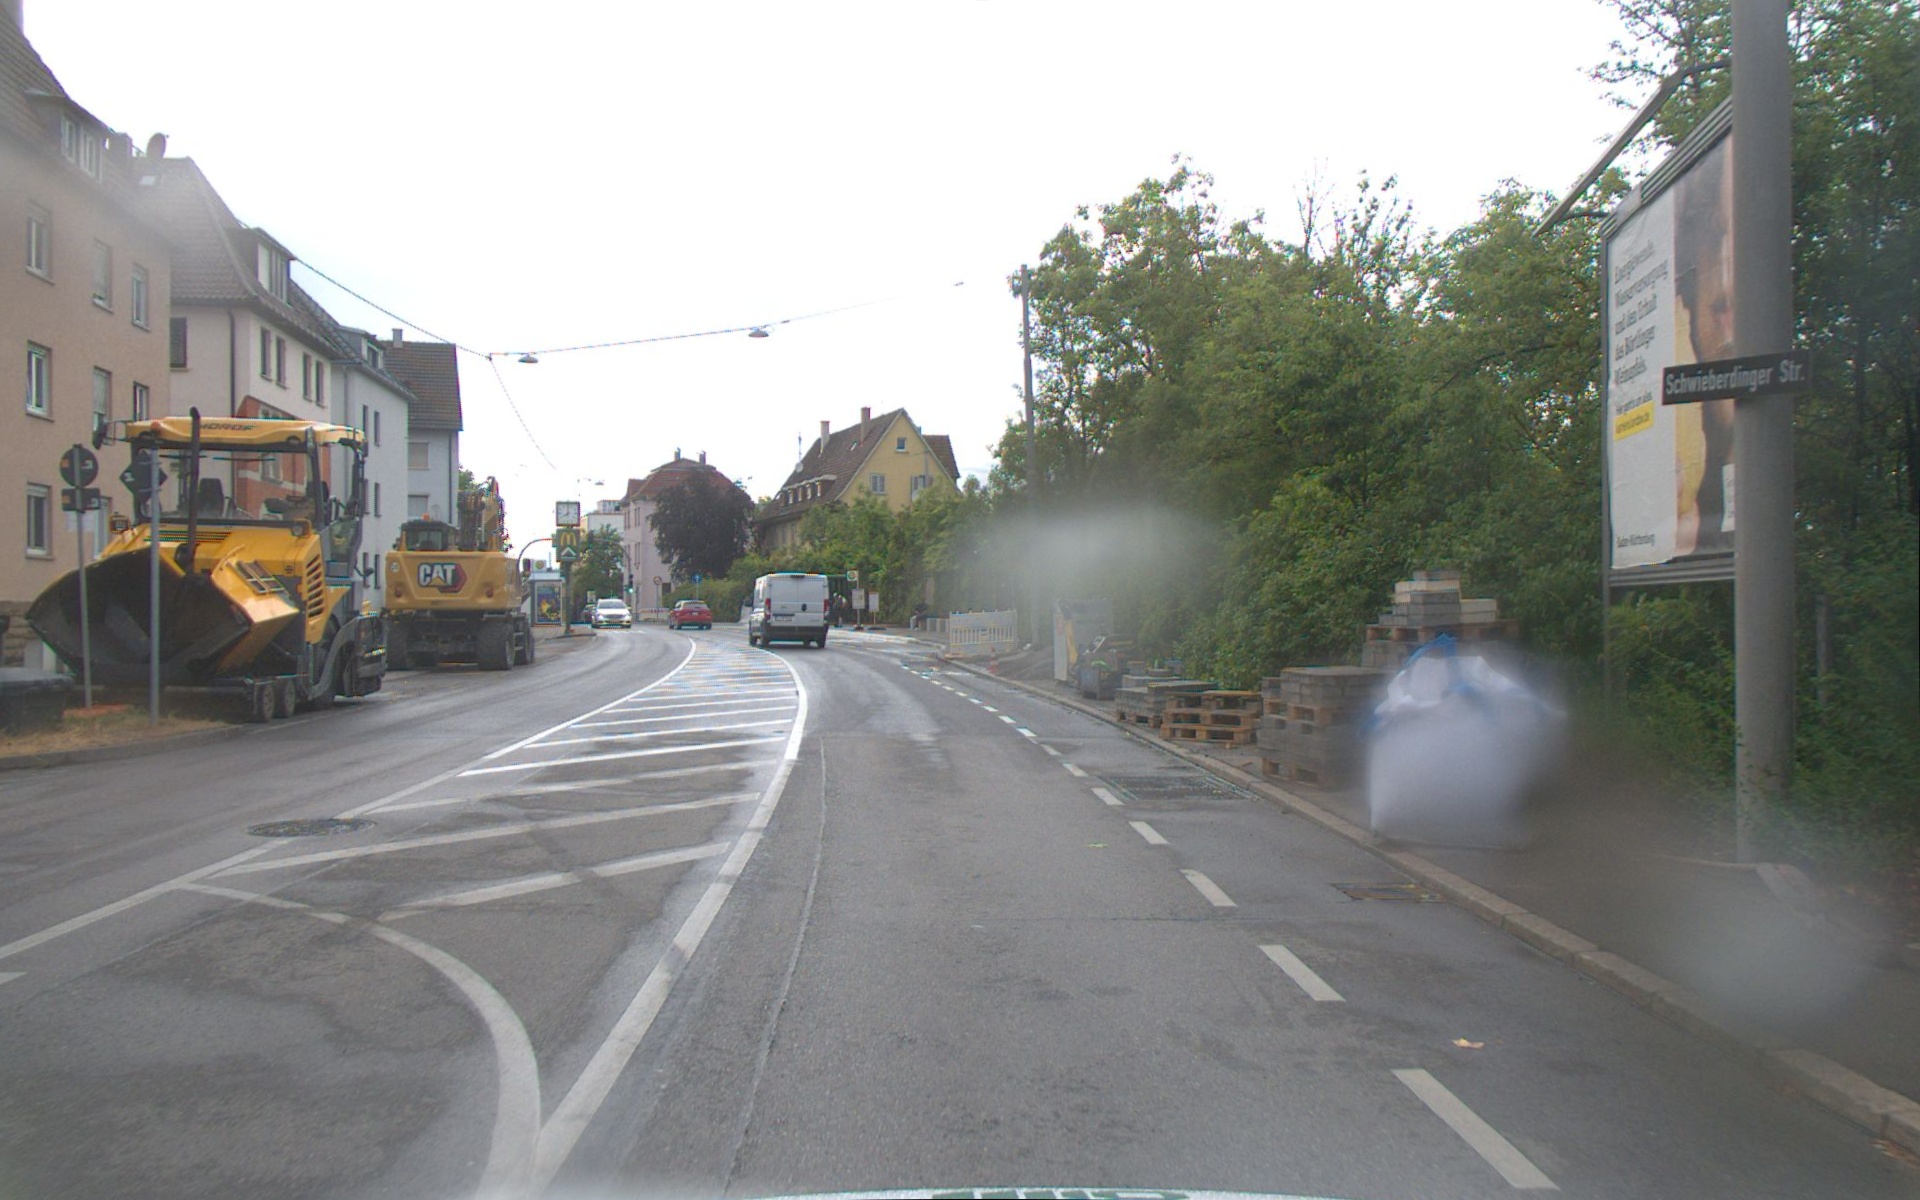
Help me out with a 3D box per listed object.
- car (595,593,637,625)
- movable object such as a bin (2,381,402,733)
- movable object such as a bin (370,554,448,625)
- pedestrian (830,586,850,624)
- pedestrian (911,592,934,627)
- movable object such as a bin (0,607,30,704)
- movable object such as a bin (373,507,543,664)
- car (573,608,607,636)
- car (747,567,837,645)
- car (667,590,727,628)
[{"bbox_3d":[-18.113,0.500,86.931,1.897,1.583,4.600,1,-1,-15],"label":"car"},{"bbox_3d":[-9.591,-0.568,21.722,2.719,3.922,5.985,1,2,-3],"label":"movable object such as a bin"},{"bbox_3d":[-22.164,-0.473,66.697,1.955,2.729,4.623,1,2,-6],"label":"movable object such as a bin"},{"bbox_3d":[-5.636,0.222,77.852,0.888,1.761,0.653,1,1,-5],"label":"pedestrian"},{"bbox_3d":[-1.593,0.390,69.710,0.861,1.391,1.064,1,2,-5],"label":"pedestrian"},{"bbox_3d":[-13.175,0.737,22.443,0.882,1.243,1.190,0,2,-33],"label":"movable object such as a bin"},{"bbox_3d":[-11.015,-0.292,36.681,2.816,3.229,4.119,1,0,-6],"label":"movable object such as a bin"},{"bbox_3d":[-27.485,1.618,122.645,2.201,1.835,4.694,1,2,-16],"label":"car"},{"bbox_3d":[-5.401,0.145,52.636,2.199,2.251,4.698,1,2,-14],"label":"car"},{"bbox_3d":[-13.272,0.437,83.247,2.203,1.685,4.689,1,2,-18],"label":"car"}]
